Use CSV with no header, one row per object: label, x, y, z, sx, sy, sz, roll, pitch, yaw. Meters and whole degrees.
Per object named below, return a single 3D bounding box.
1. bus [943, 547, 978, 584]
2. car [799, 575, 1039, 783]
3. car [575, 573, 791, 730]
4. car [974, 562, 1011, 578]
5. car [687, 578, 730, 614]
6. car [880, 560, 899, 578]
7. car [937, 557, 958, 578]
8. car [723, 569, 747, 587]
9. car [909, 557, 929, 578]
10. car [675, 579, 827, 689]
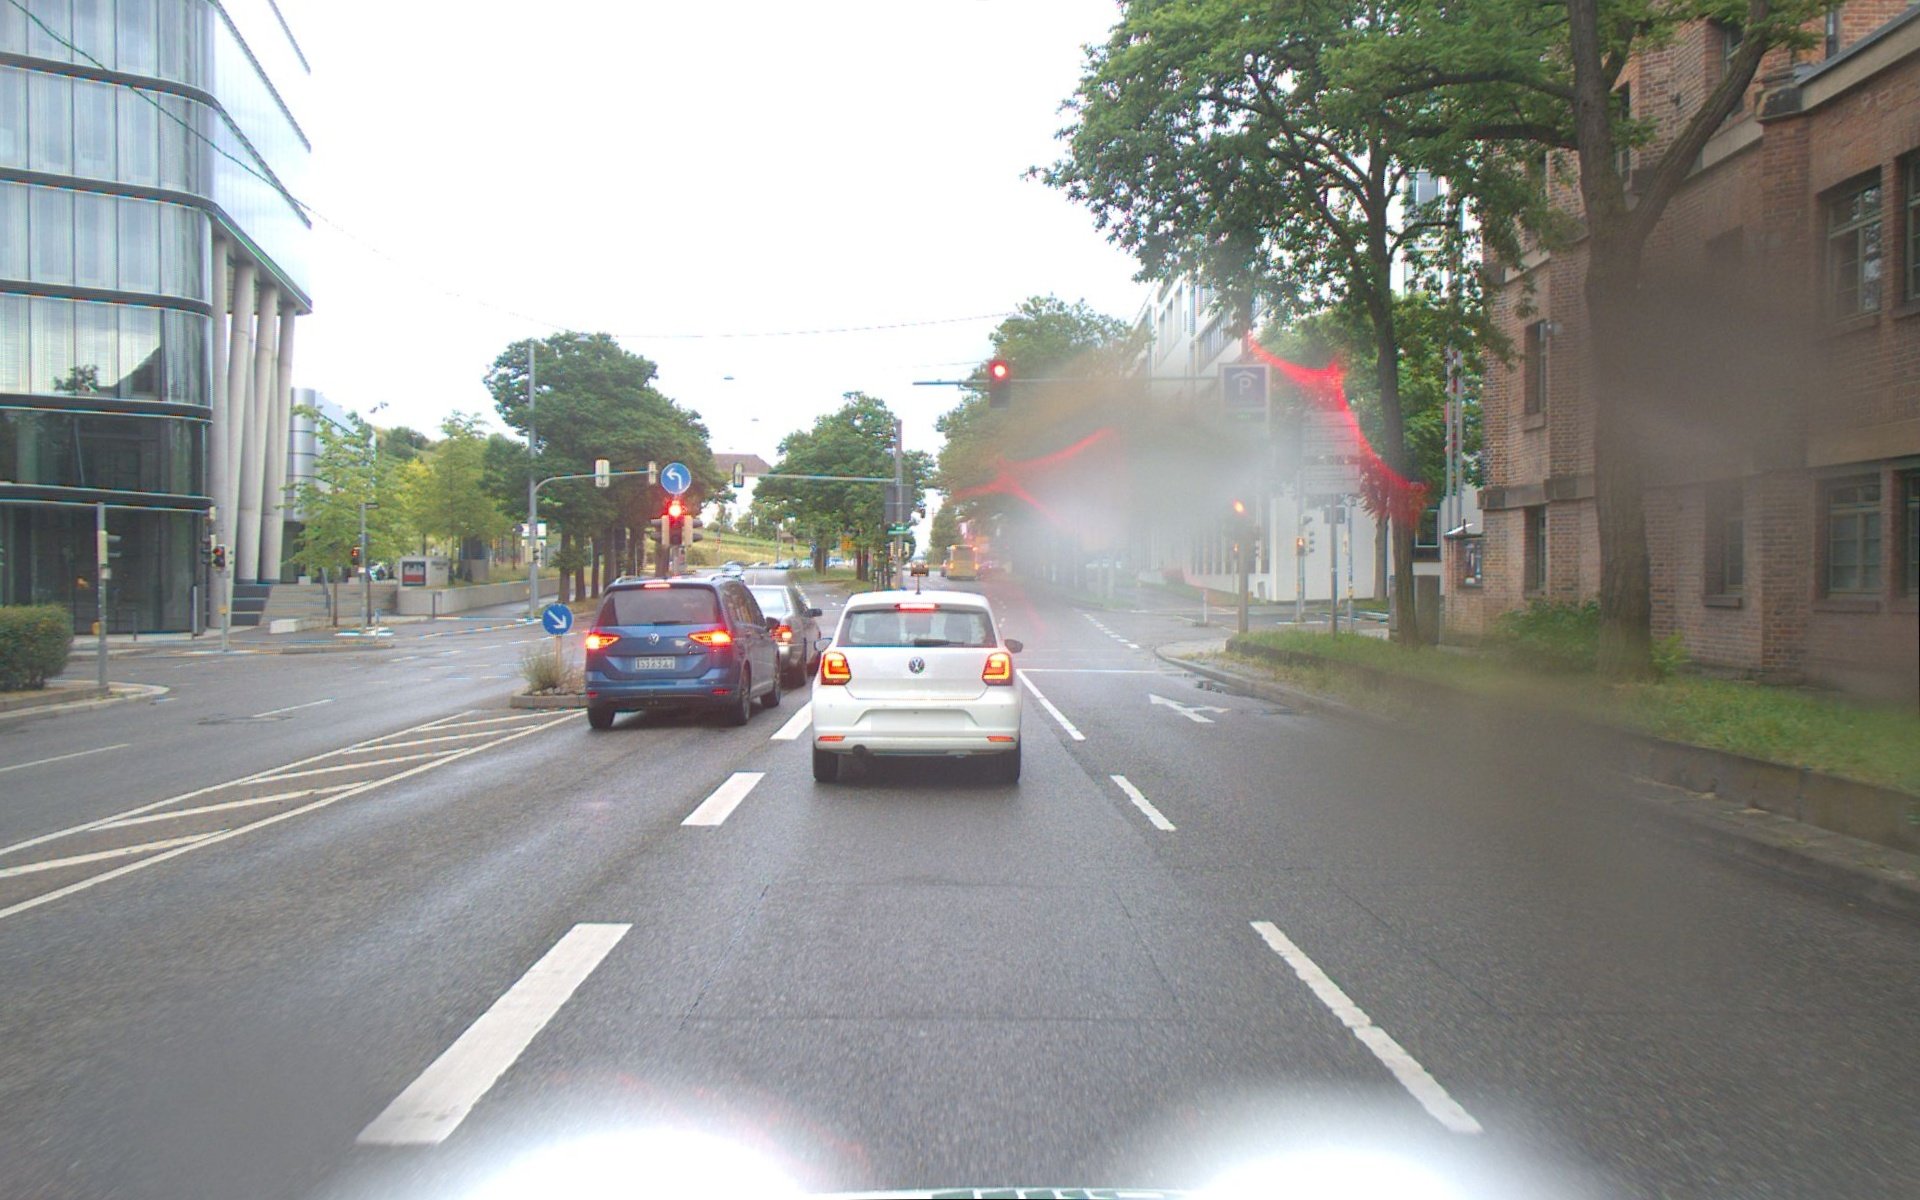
bus,0.009,-3.228,153.503,2.771,3.323,9.997,0,2,-2
car,-0.338,0.561,14.131,1.758,1.528,3.999,0,1,-1
car,-3.122,0.519,19.449,1.735,1.624,4.198,-1,1,1
car,3.311,-3.036,166.488,1.670,1.542,3.804,0,1,42
car,-11.552,-0.214,76.166,1.716,1.547,3.813,-1,1,-5
car,-7.181,-3.140,168.297,1.758,1.772,3.998,-1,1,-3
car,-1.261,-3.258,167.223,1.953,2.049,3.998,-1,1,-2
car,-19.560,-1.928,144.098,1.779,1.436,4.651,-2,2,-5
car,-4.154,-3.257,166.698,1.953,2.049,3.998,-1,1,-2
car,-3.168,0.466,25.793,1.809,1.536,4.048,-1,1,0
